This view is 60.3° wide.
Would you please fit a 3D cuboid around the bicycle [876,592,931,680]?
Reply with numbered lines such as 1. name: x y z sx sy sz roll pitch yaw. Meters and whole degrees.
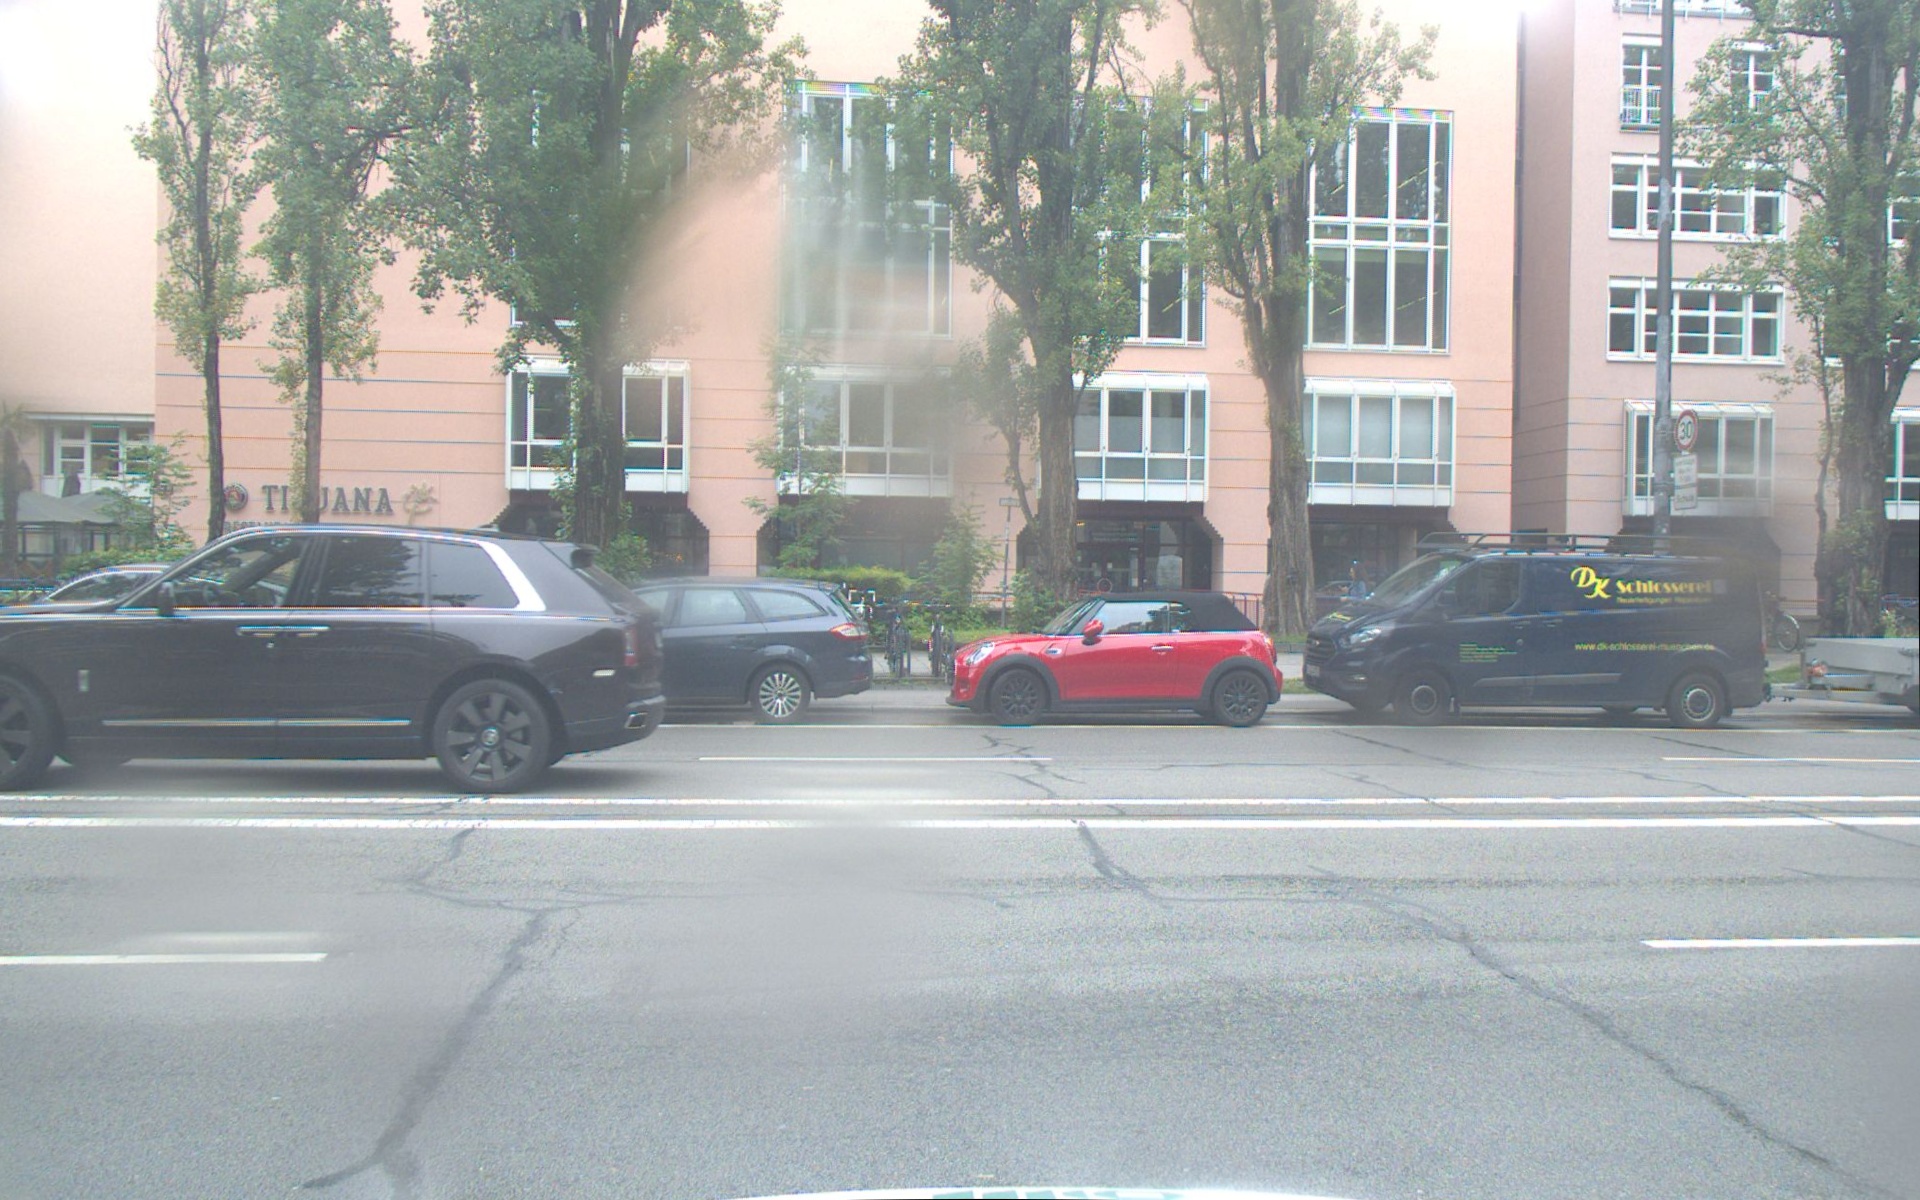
1. bicycle: -0.789 0.472 22.812 0.661 1.144 1.740 0 1 -5

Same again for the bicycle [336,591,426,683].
1. bicycle: -7.736 0.473 22.173 0.661 1.144 1.987 0 1 -5

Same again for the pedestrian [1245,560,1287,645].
1. pedestrian: 6.354 0.043 34.335 0.693 1.743 0.731 1 1 -3

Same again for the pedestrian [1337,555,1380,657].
1. pedestrian: 6.719 0.093 27.899 0.546 1.692 0.620 0 1 -2

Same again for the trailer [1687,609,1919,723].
1. trailer: 12.253 0.763 20.033 5.901 1.220 2.402 0 1 -6

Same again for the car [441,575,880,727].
1. car: -3.190 0.521 18.193 4.519 1.555 1.791 0 1 -6

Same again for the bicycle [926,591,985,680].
1. bicycle: -0.072 0.469 22.860 0.661 1.144 1.728 0 1 -5

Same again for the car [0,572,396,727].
1. car: -8.544 0.494 17.735 4.413 1.555 1.791 0 1 -6

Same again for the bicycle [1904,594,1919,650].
1. bicycle: 20.365 0.476 33.980 0.661 1.144 1.987 0 1 -5

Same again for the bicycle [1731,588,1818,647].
1. bicycle: 16.722 0.346 34.007 0.661 1.144 1.987 0 1 -5

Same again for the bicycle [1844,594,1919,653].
1. bicycle: 19.273 0.470 34.231 0.661 1.144 2.105 0 1 -5

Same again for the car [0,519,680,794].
1. car: -4.573 0.394 11.973 4.953 1.779 1.996 0 -1 -9

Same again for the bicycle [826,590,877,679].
1. bicycle: -1.510 0.449 22.762 0.661 1.144 1.740 0 1 -5

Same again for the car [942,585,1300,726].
1. car: 1.732 0.596 18.586 3.784 1.474 1.677 0 1 -4

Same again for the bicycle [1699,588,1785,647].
1. bicycle: 16.011 0.334 33.912 0.661 1.144 1.987 0 1 -5

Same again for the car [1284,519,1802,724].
1. car: 6.718 0.227 19.380 5.373 2.235 2.021 0 1 -6
